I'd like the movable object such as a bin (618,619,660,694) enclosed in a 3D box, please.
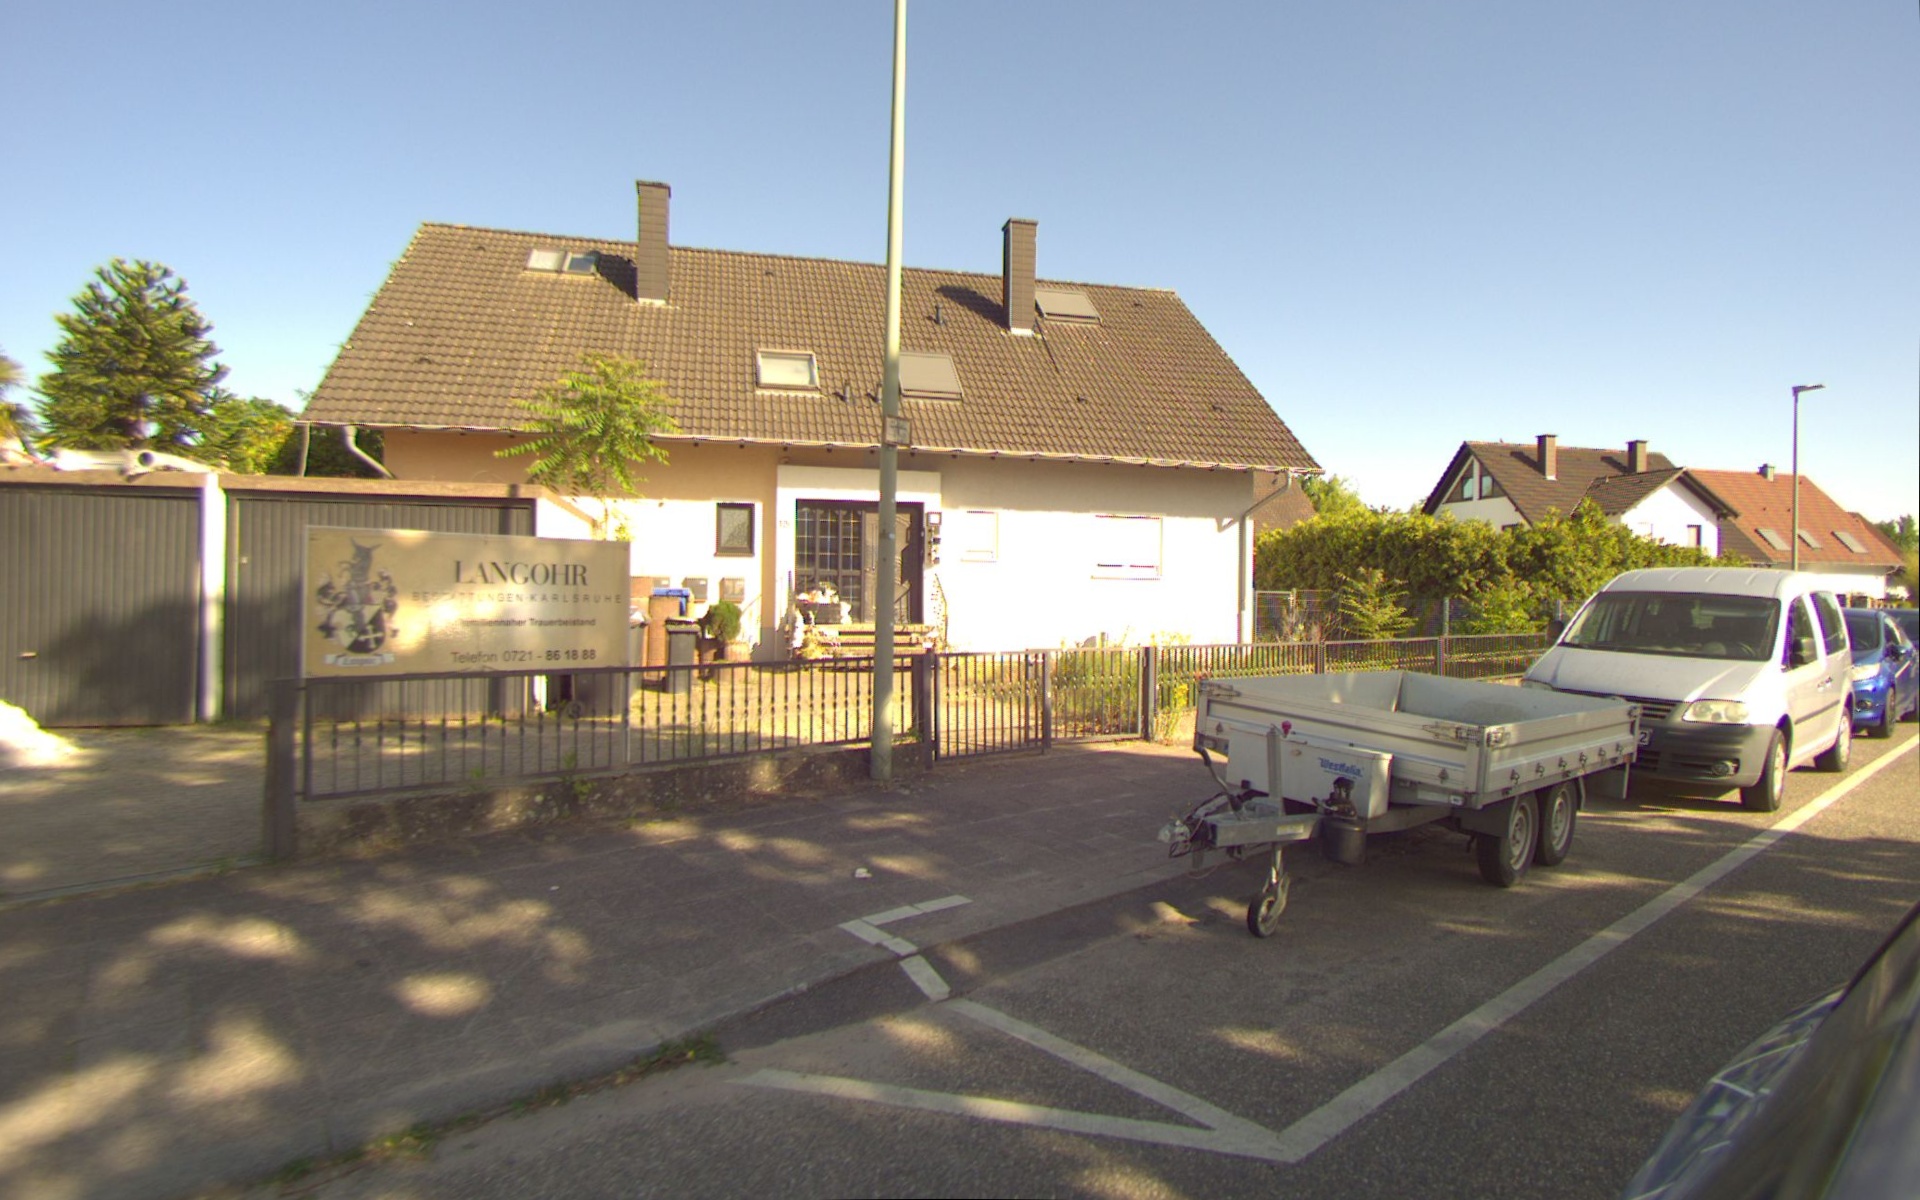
[{"bbox_3d":[-4.077,0.712,12.874,0.448,0.924,0.506,1,0,-12],"label":"movable object such as a bin"}]

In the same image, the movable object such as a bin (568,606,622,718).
[{"bbox_3d":[-3.770,0.627,10.471,0.448,1.110,0.506,1,0,-12],"label":"movable object such as a bin"}]

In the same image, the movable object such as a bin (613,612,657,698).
[{"bbox_3d":[-3.956,0.657,12.338,0.448,1.012,0.506,1,0,-12],"label":"movable object such as a bin"}]

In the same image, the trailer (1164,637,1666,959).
[{"bbox_3d":[2.789,0.901,5.952,3.091,1.233,1.629,0,0,-43],"label":"trailer"}]

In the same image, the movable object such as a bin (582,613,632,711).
[{"bbox_3d":[-3.852,0.666,11.054,0.448,1.039,0.506,1,0,-12],"label":"movable object such as a bin"}]

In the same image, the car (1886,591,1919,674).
[{"bbox_3d":[21.278,0.677,21.665,3.750,1.680,1.778,1,0,-42],"label":"car"}]

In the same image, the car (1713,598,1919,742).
[{"bbox_3d":[10.884,0.749,12.617,3.501,1.524,1.721,0,0,-41],"label":"car"}]

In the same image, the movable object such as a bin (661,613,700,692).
[{"bbox_3d":[-3.603,0.669,13.061,0.448,0.977,0.506,1,0,-12],"label":"movable object such as a bin"}]

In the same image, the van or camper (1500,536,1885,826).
[{"bbox_3d":[6.398,0.532,8.671,4.105,1.914,1.722,0,0,-40],"label":"van or camper"}]

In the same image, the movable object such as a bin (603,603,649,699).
[{"bbox_3d":[-3.886,0.583,11.788,0.448,1.092,0.506,1,0,-12],"label":"movable object such as a bin"}]

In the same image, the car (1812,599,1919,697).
[{"bbox_3d":[16.101,0.756,17.370,3.839,1.524,1.721,0,0,-41],"label":"car"}]
